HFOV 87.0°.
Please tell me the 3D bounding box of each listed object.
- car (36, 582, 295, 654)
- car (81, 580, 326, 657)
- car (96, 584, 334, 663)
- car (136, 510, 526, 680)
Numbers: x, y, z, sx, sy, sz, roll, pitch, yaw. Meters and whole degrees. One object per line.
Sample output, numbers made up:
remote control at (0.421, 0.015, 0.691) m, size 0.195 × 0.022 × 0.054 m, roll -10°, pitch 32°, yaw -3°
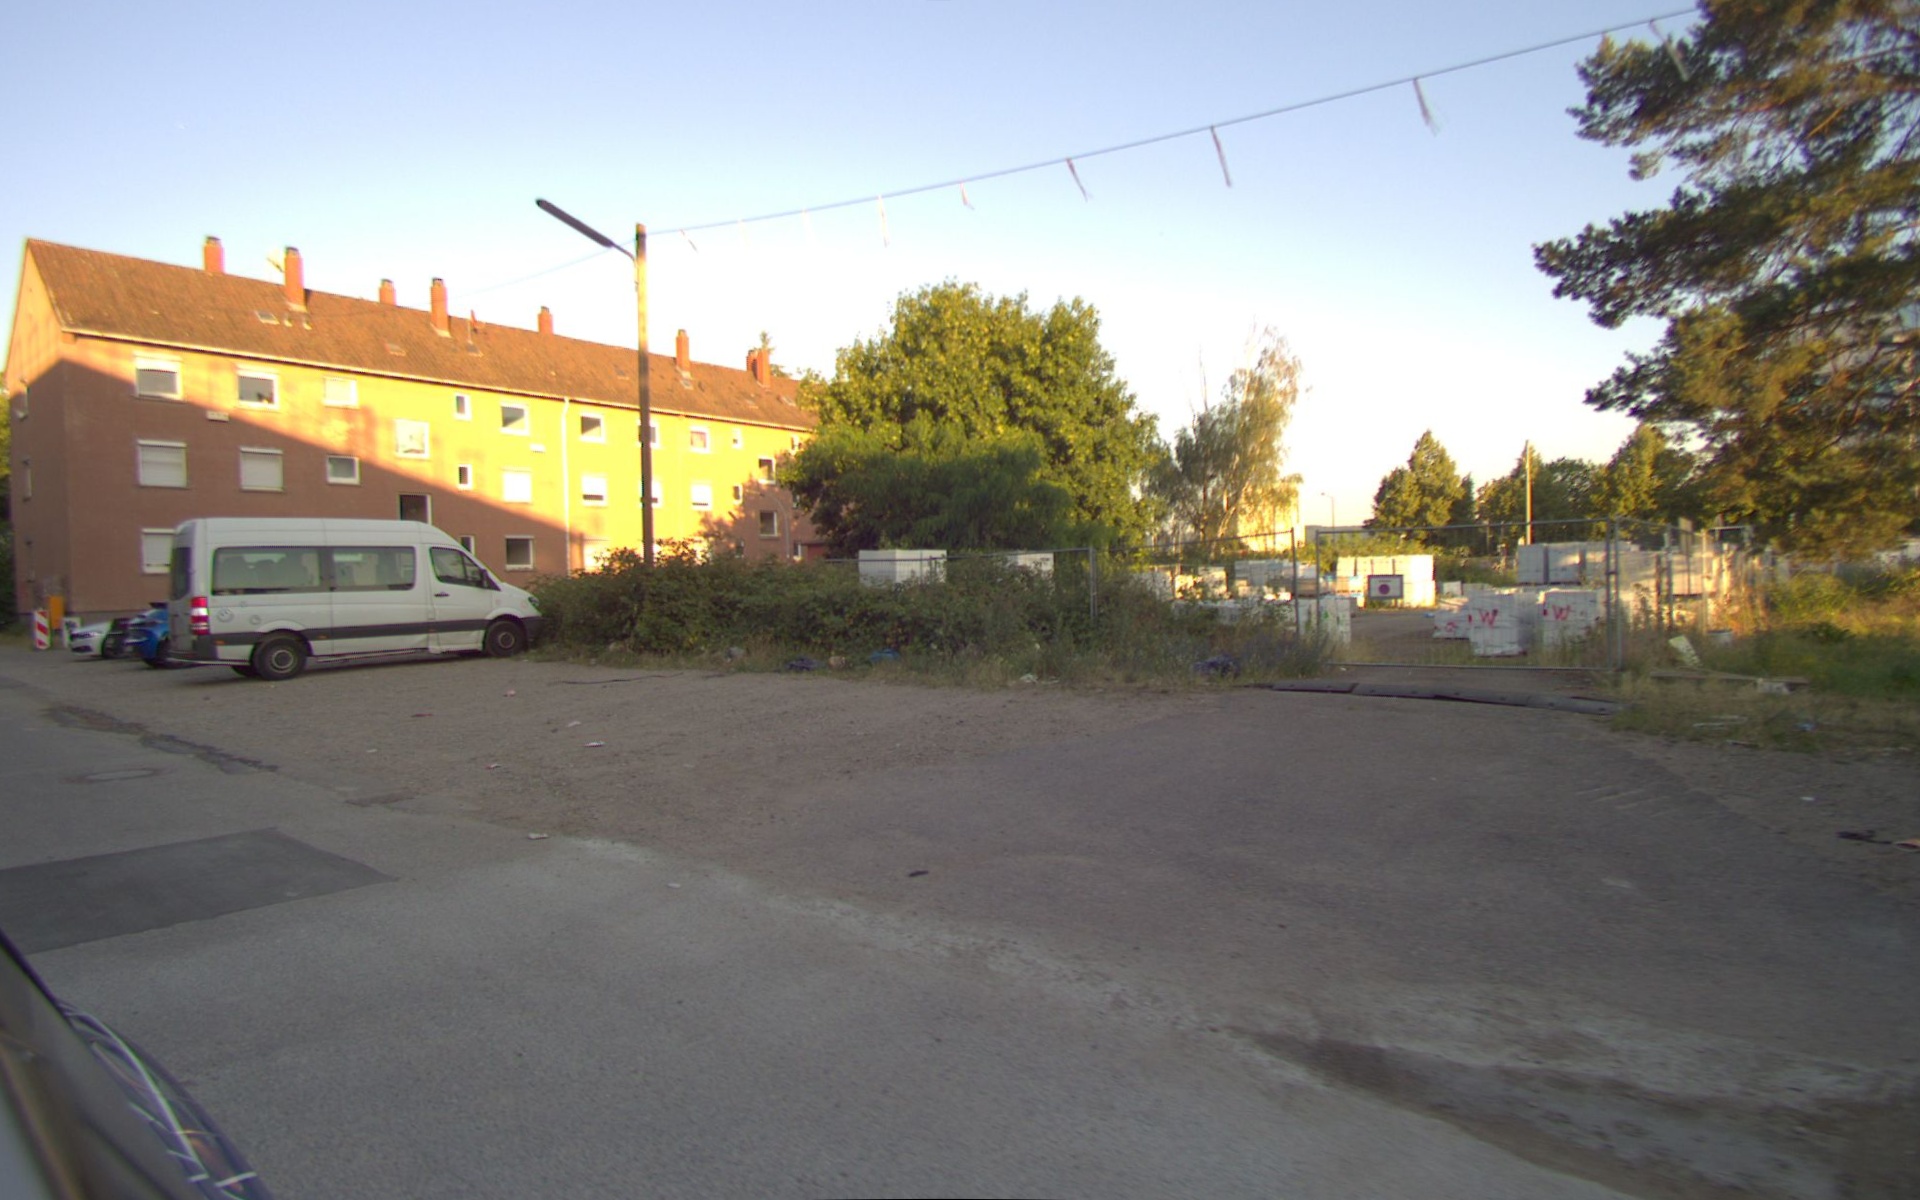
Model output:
car at (-20.712, 0.409, 26.617) m, size 2.111 × 1.556 × 4.950 m, roll -1°, pitch 2°, yaw 36°
car at (-18.060, 0.370, 24.368) m, size 1.724 × 1.556 × 4.377 m, roll -1°, pitch 2°, yaw 36°
car at (-16.100, 0.450, 22.029) m, size 1.725 × 1.440 × 3.802 m, roll -1°, pitch 2°, yaw 37°
car at (-11.325, -0.196, 18.637) m, size 2.221 × 2.645 × 5.629 m, roll 0°, pitch 2°, yaw 42°
